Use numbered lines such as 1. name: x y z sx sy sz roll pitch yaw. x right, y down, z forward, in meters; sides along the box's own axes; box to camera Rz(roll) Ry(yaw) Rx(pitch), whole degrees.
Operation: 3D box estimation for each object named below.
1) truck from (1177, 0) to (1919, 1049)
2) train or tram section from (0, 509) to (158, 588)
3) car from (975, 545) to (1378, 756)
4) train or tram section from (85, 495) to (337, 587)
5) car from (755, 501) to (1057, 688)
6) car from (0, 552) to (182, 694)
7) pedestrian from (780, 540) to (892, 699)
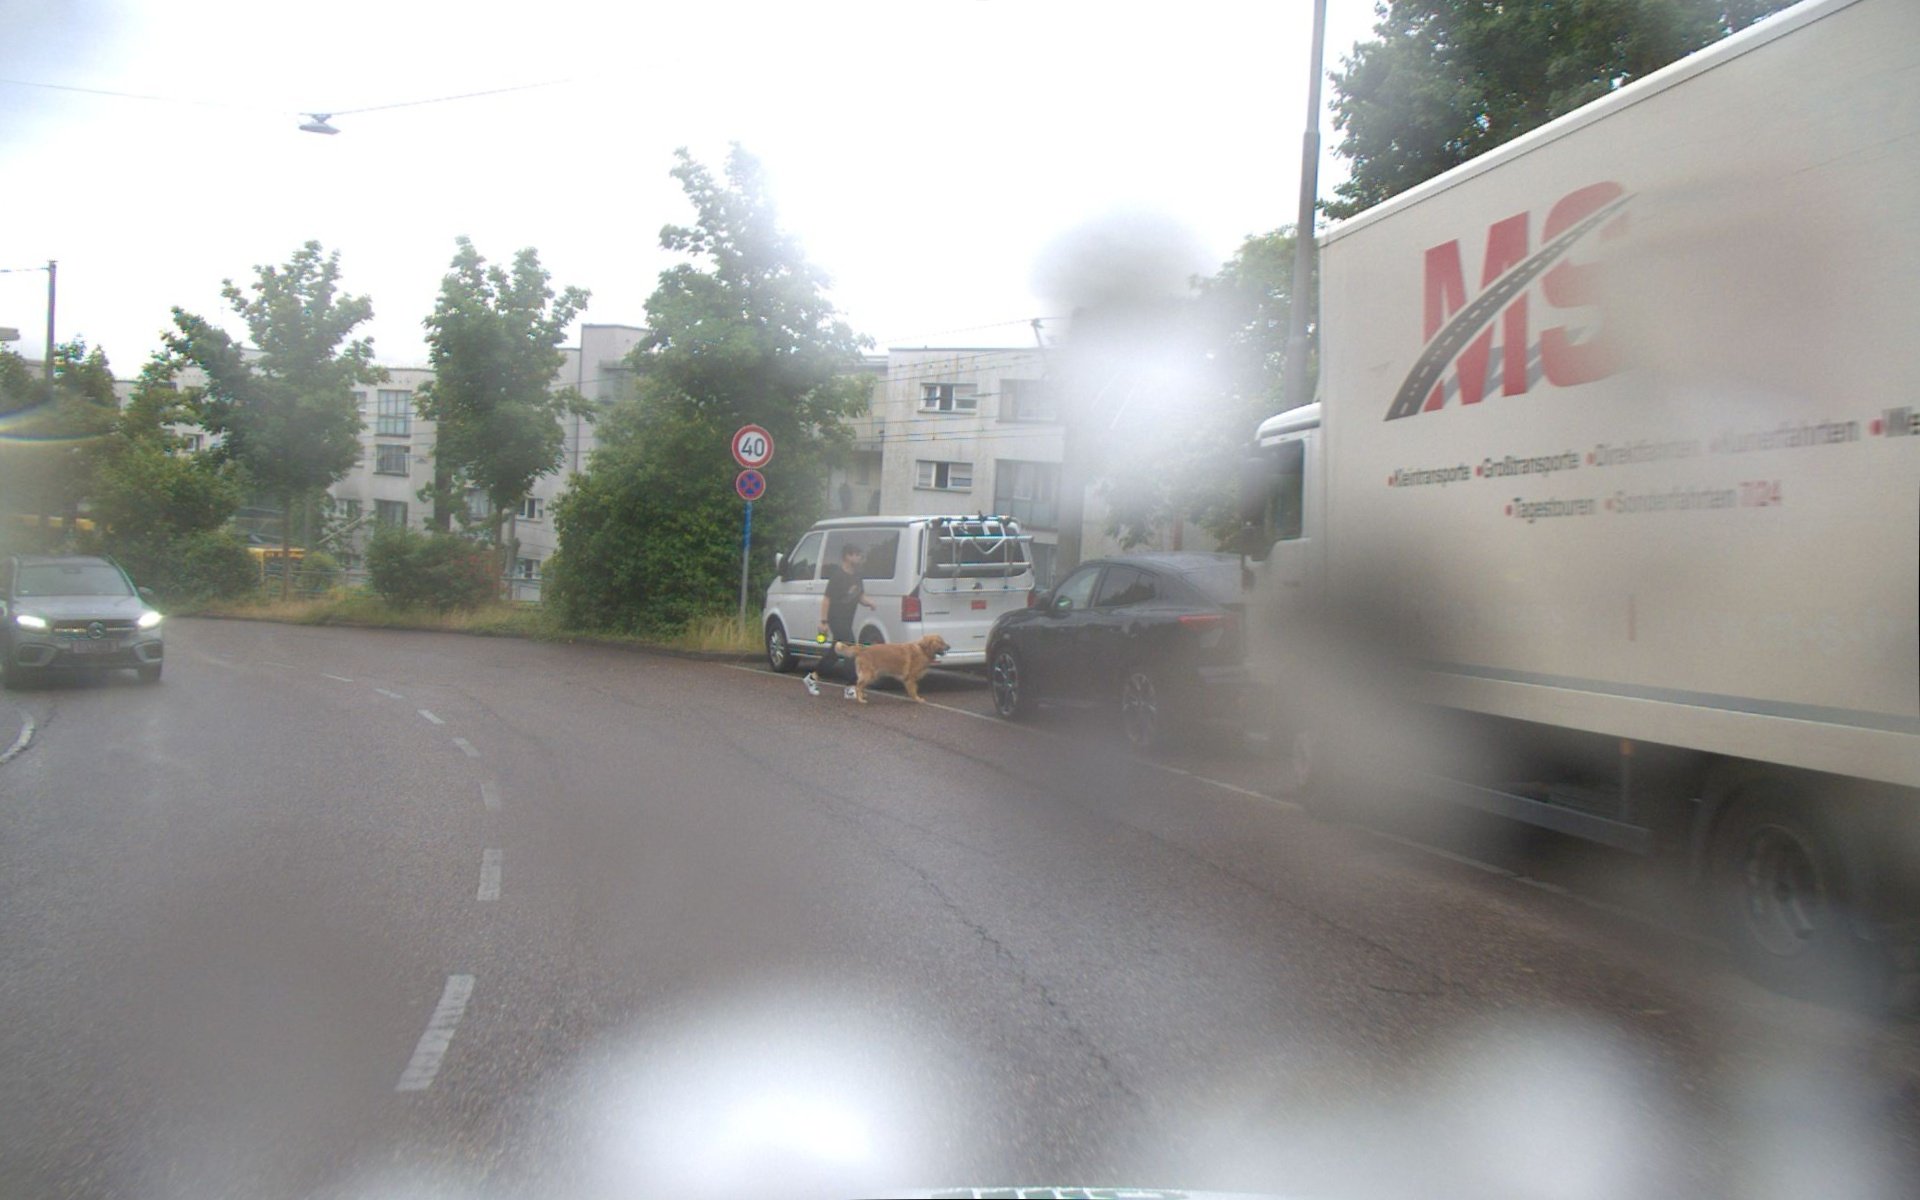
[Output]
1. truck: 3.825 -0.488 7.701 2.954 3.636 8.311 1 1 -12
2. train or tram section: -50.297 -2.894 91.628 18.465 4.016 3.324 2 1 40
3. car: 1.753 0.324 14.885 1.695 1.583 4.247 -1 2 -23
4. train or tram section: -36.622 -2.846 80.035 18.924 4.016 3.324 2 1 40
5. car: -0.815 -0.131 20.565 1.856 2.048 4.646 -1 2 -29
6. car: -12.139 0.223 22.610 1.805 1.698 4.251 -2 3 -38
7. pedestrian: -1.369 0.190 18.270 0.908 1.690 0.801 1 3 39
